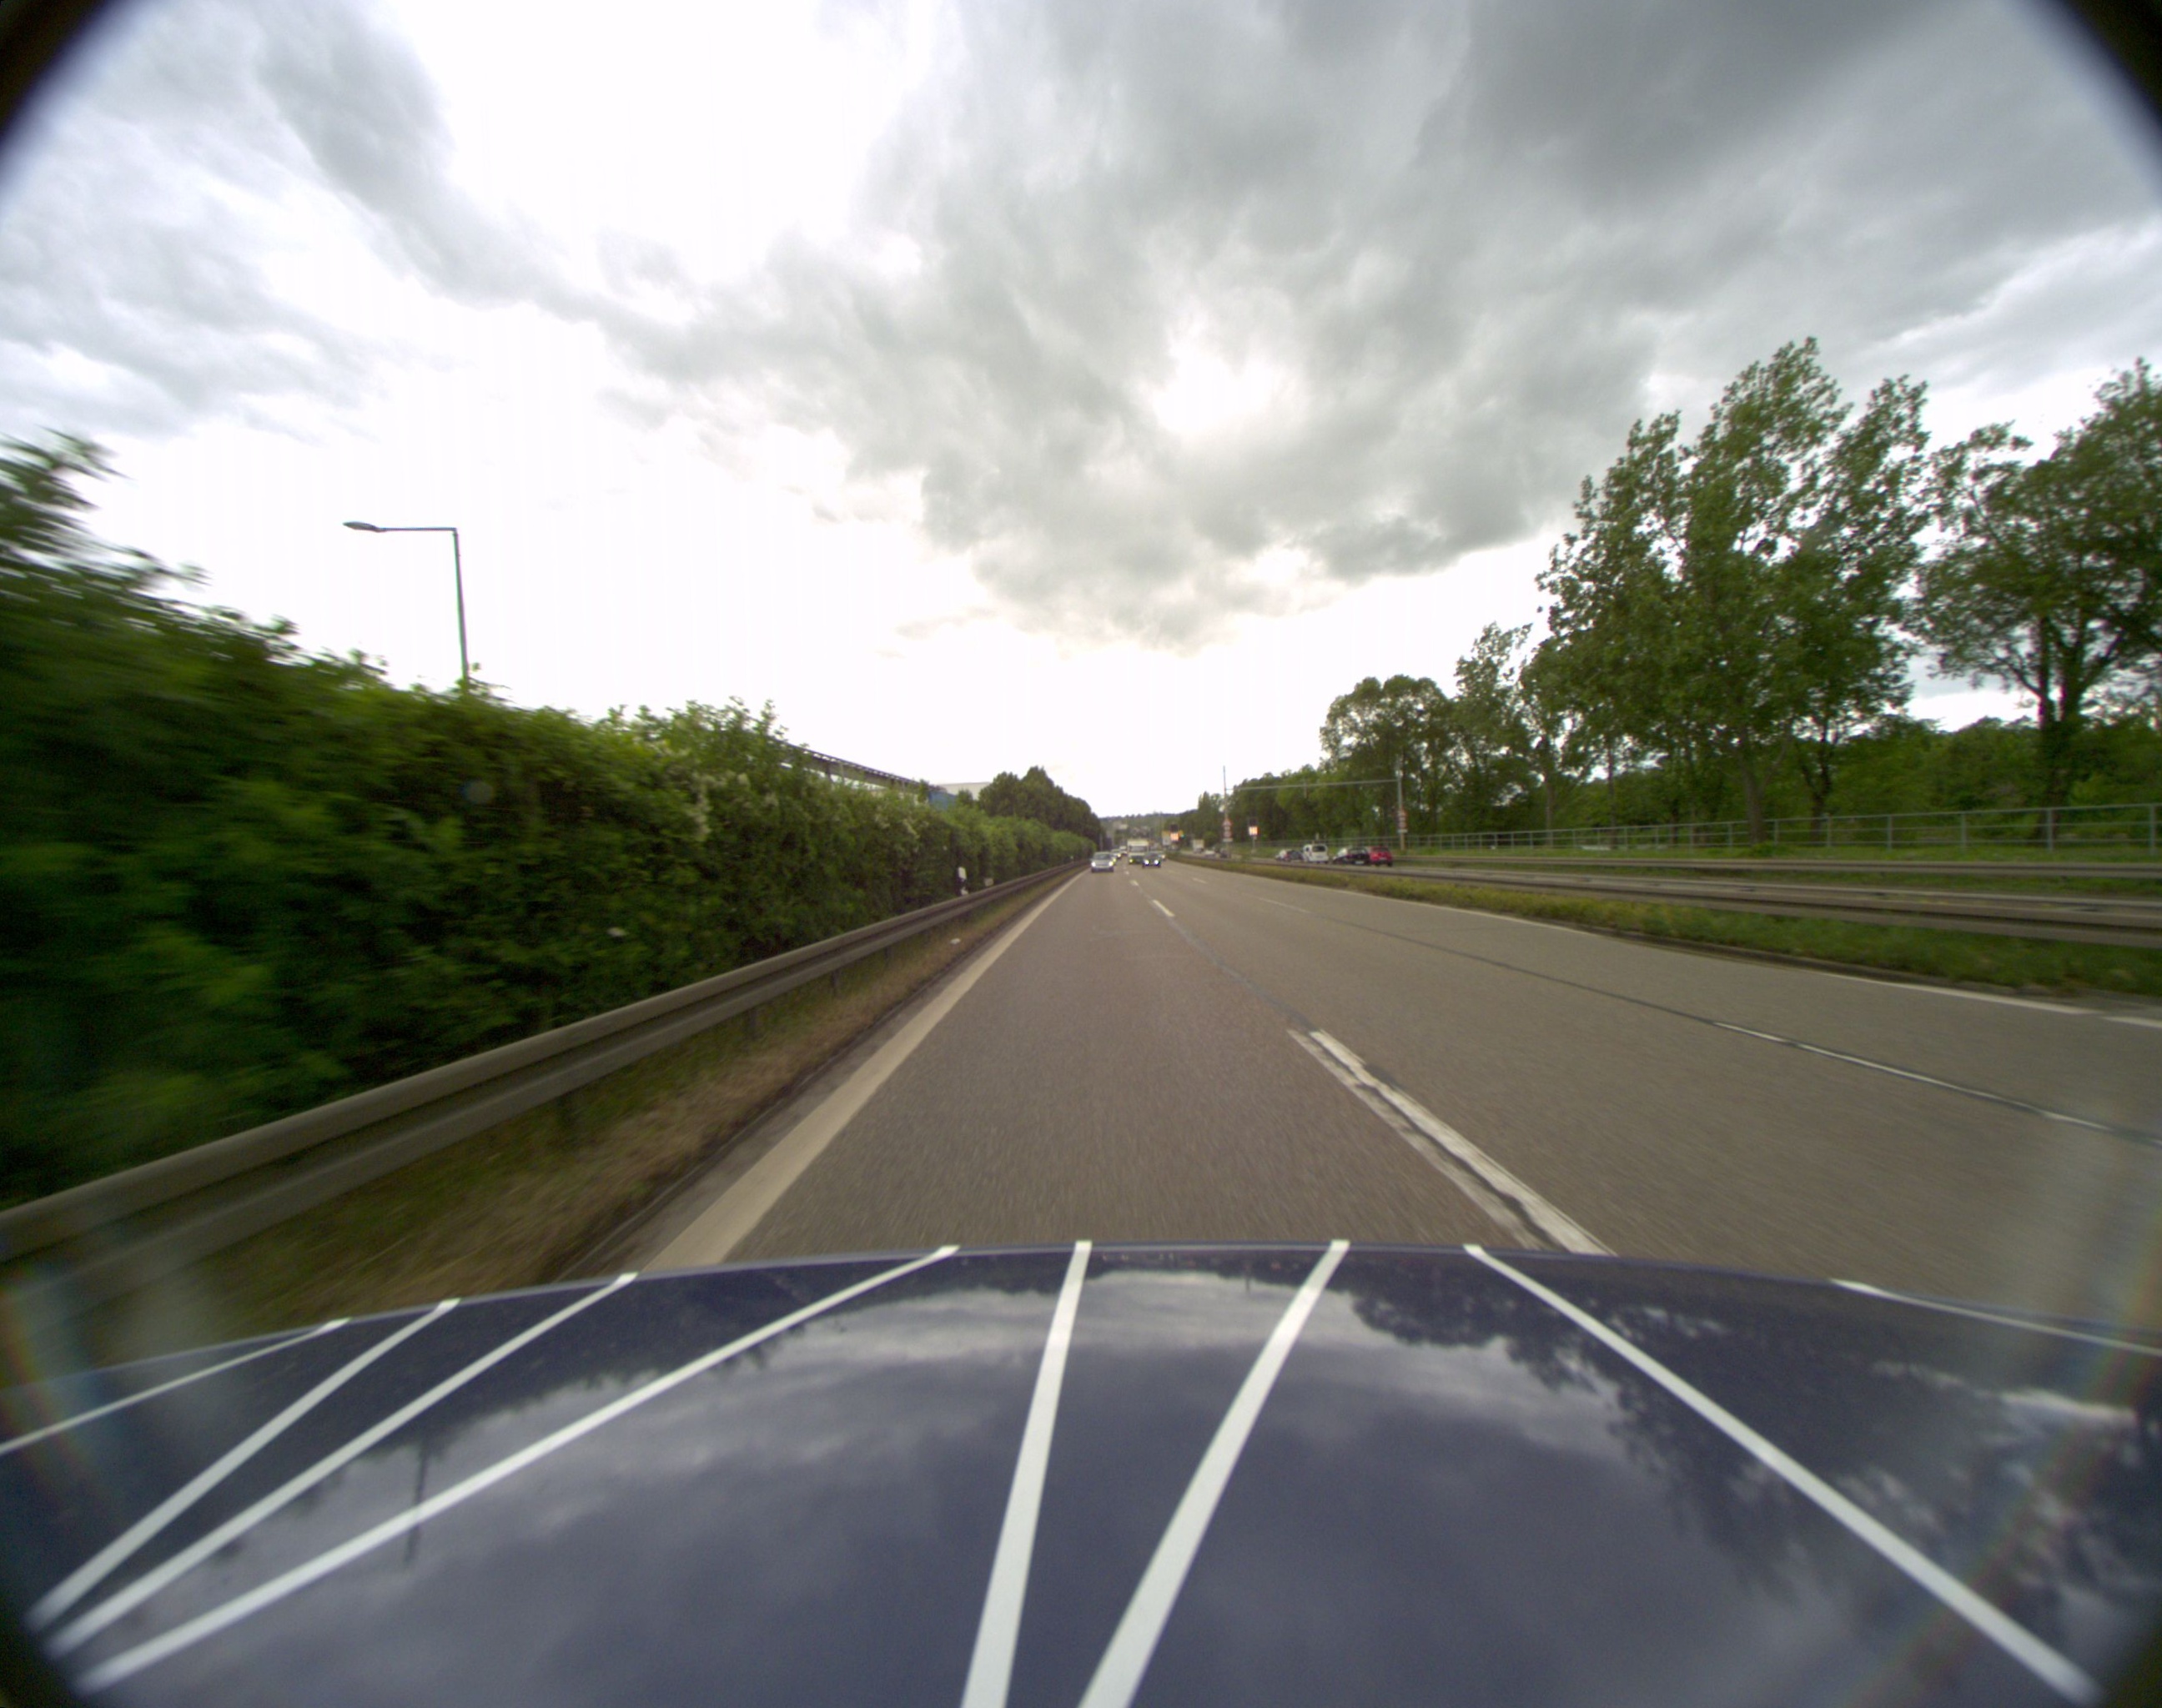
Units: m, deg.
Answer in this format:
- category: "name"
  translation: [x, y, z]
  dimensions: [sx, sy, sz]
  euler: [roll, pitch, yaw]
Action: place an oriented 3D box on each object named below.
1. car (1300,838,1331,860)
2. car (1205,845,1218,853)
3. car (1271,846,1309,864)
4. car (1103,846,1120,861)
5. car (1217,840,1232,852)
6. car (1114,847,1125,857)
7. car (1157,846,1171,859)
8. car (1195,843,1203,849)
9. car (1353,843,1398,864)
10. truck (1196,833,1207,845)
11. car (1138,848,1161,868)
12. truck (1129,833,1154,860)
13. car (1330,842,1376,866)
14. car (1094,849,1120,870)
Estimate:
- category: "car"
  translation: [21.724, -0.450, 70.517]
  dimensions: [1.614, 1.873, 4.562]
  euler: [-2, 1, 2]
- category: "car"
  translation: [25.876, -0.978, 150.459]
  dimensions: [1.871, 1.665, 4.719]
  euler: [-1, 0, 3]
- category: "car"
  translation: [18.066, 0.058, 65.989]
  dimensions: [1.866, 1.456, 5.551]
  euler: [-2, 0, 2]
- category: "car"
  translation: [3.759, -0.058, 91.986]
  dimensions: [1.883, 1.714, 4.147]
  euler: [-3, 0, 3]
- category: "car"
  translation: [21.775, -1.248, 115.125]
  dimensions: [1.730, 1.764, 3.742]
  euler: [-2, 1, 4]
- category: "car"
  translation: [6.908, -0.312, 137.159]
  dimensions: [1.883, 1.714, 4.147]
  euler: [-3, 0, 3]
- category: "car"
  translation: [12.726, -0.225, 116.632]
  dimensions: [1.883, 1.714, 4.147]
  euler: [-3, 0, 3]
- category: "car"
  translation: [30.974, -2.131, 198.772]
  dimensions: [1.701, 1.595, 4.539]
  euler: [0, 0, 4]
- category: "car"
  translation: [21.563, -0.032, 55.821]
  dimensions: [1.722, 1.456, 4.381]
  euler: [-2, 0, 2]
- category: "truck"
  translation: [37.613, -4.550, 237.134]
  dimensions: [2.895, 3.558, 9.590]
  euler: [-2, 1, 6]
- category: "car"
  translation: [6.424, 0.399, 71.474]
  dimensions: [1.883, 1.714, 4.147]
  euler: [-3, 0, 3]
- category: "truck"
  translation: [7.689, -0.897, 97.912]
  dimensions: [2.656, 3.121, 12.511]
  euler: [-3, 0, 3]
- category: "car"
  translation: [17.498, -0.035, 49.074]
  dimensions: [1.664, 1.415, 3.911]
  euler: [-2, 0, 2]
- category: "car"
  translation: [2.093, 0.402, 60.515]
  dimensions: [1.883, 1.530, 4.147]
  euler: [-3, 0, 3]
